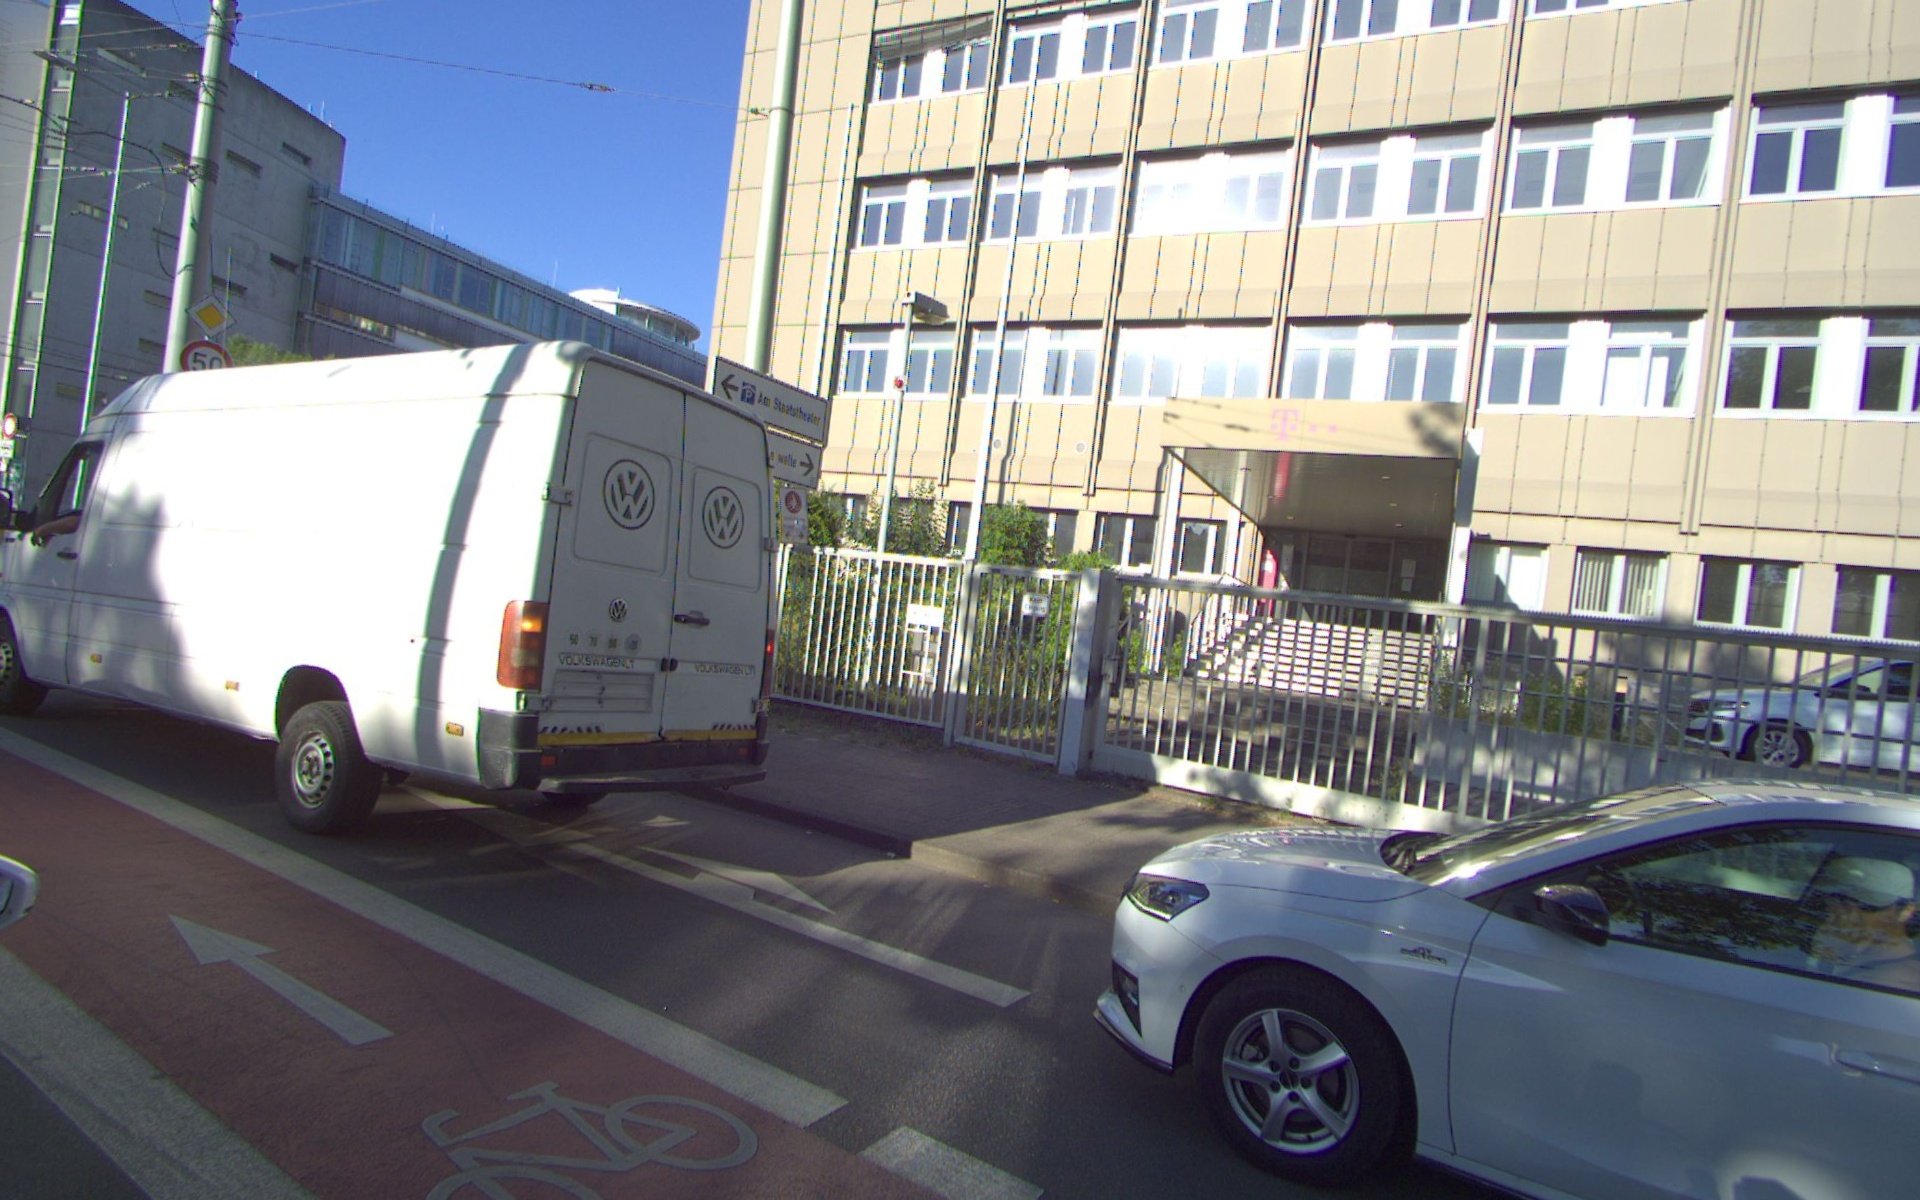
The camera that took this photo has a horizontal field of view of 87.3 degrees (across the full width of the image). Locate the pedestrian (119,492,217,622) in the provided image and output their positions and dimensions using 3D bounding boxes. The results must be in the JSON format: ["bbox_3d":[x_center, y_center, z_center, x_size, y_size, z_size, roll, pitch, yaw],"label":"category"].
[{"bbox_3d":[-11.613,-0.625,14.758,0.759,1.770,0.787,7,1,32],"label":"pedestrian"}]

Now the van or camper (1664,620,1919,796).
[{"bbox_3d":[12.610,1.558,13.340,4.911,1.932,1.985,7,0,26],"label":"van or camper"}]

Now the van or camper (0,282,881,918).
[{"bbox_3d":[-3.936,-0.217,6.794,6.236,2.764,2.276,7,-2,28],"label":"van or camper"}]

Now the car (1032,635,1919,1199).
[{"bbox_3d":[2.455,1.154,3.199,3.914,1.518,1.806,7,-1,30],"label":"car"}]
